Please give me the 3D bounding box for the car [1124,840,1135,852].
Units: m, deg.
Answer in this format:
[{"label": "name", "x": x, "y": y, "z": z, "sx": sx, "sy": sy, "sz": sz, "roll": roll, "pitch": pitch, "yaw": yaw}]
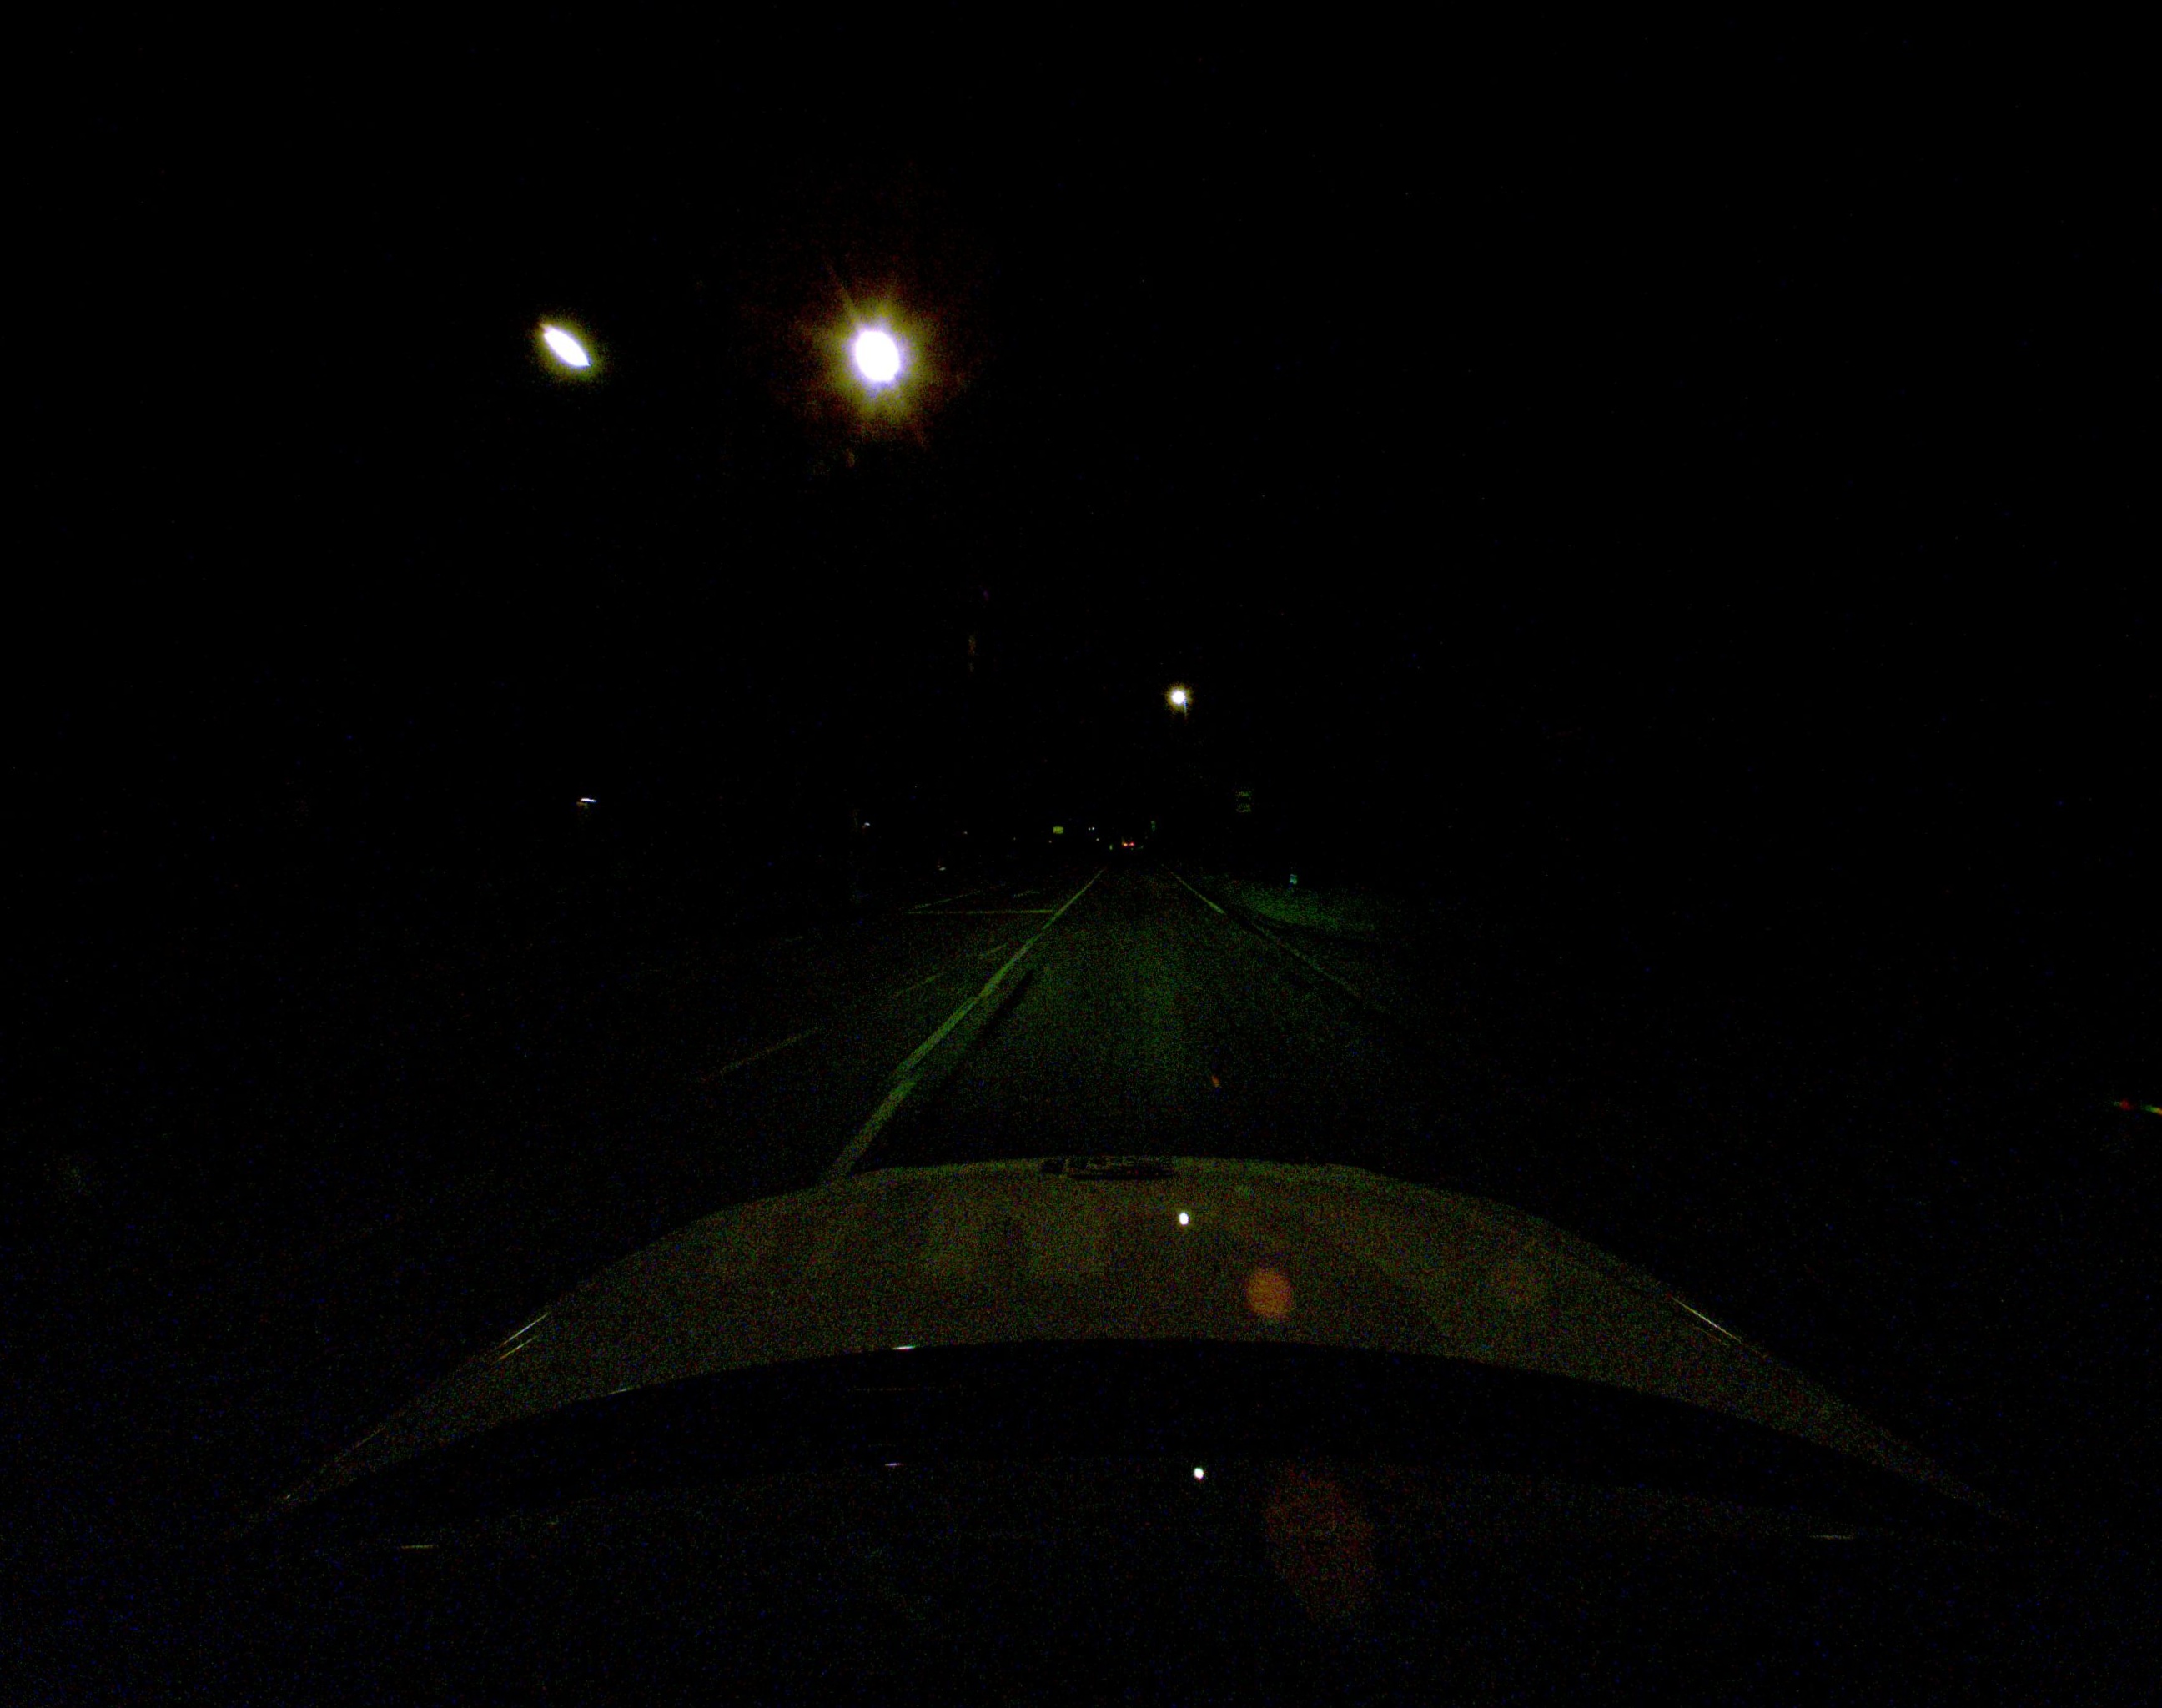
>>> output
[{"label": "car", "x": 9.257, "y": -1.559, "z": 155.417, "sx": 1.985, "sy": 2.014, "sz": 4.002, "roll": 0, "pitch": -2, "yaw": 3}]
